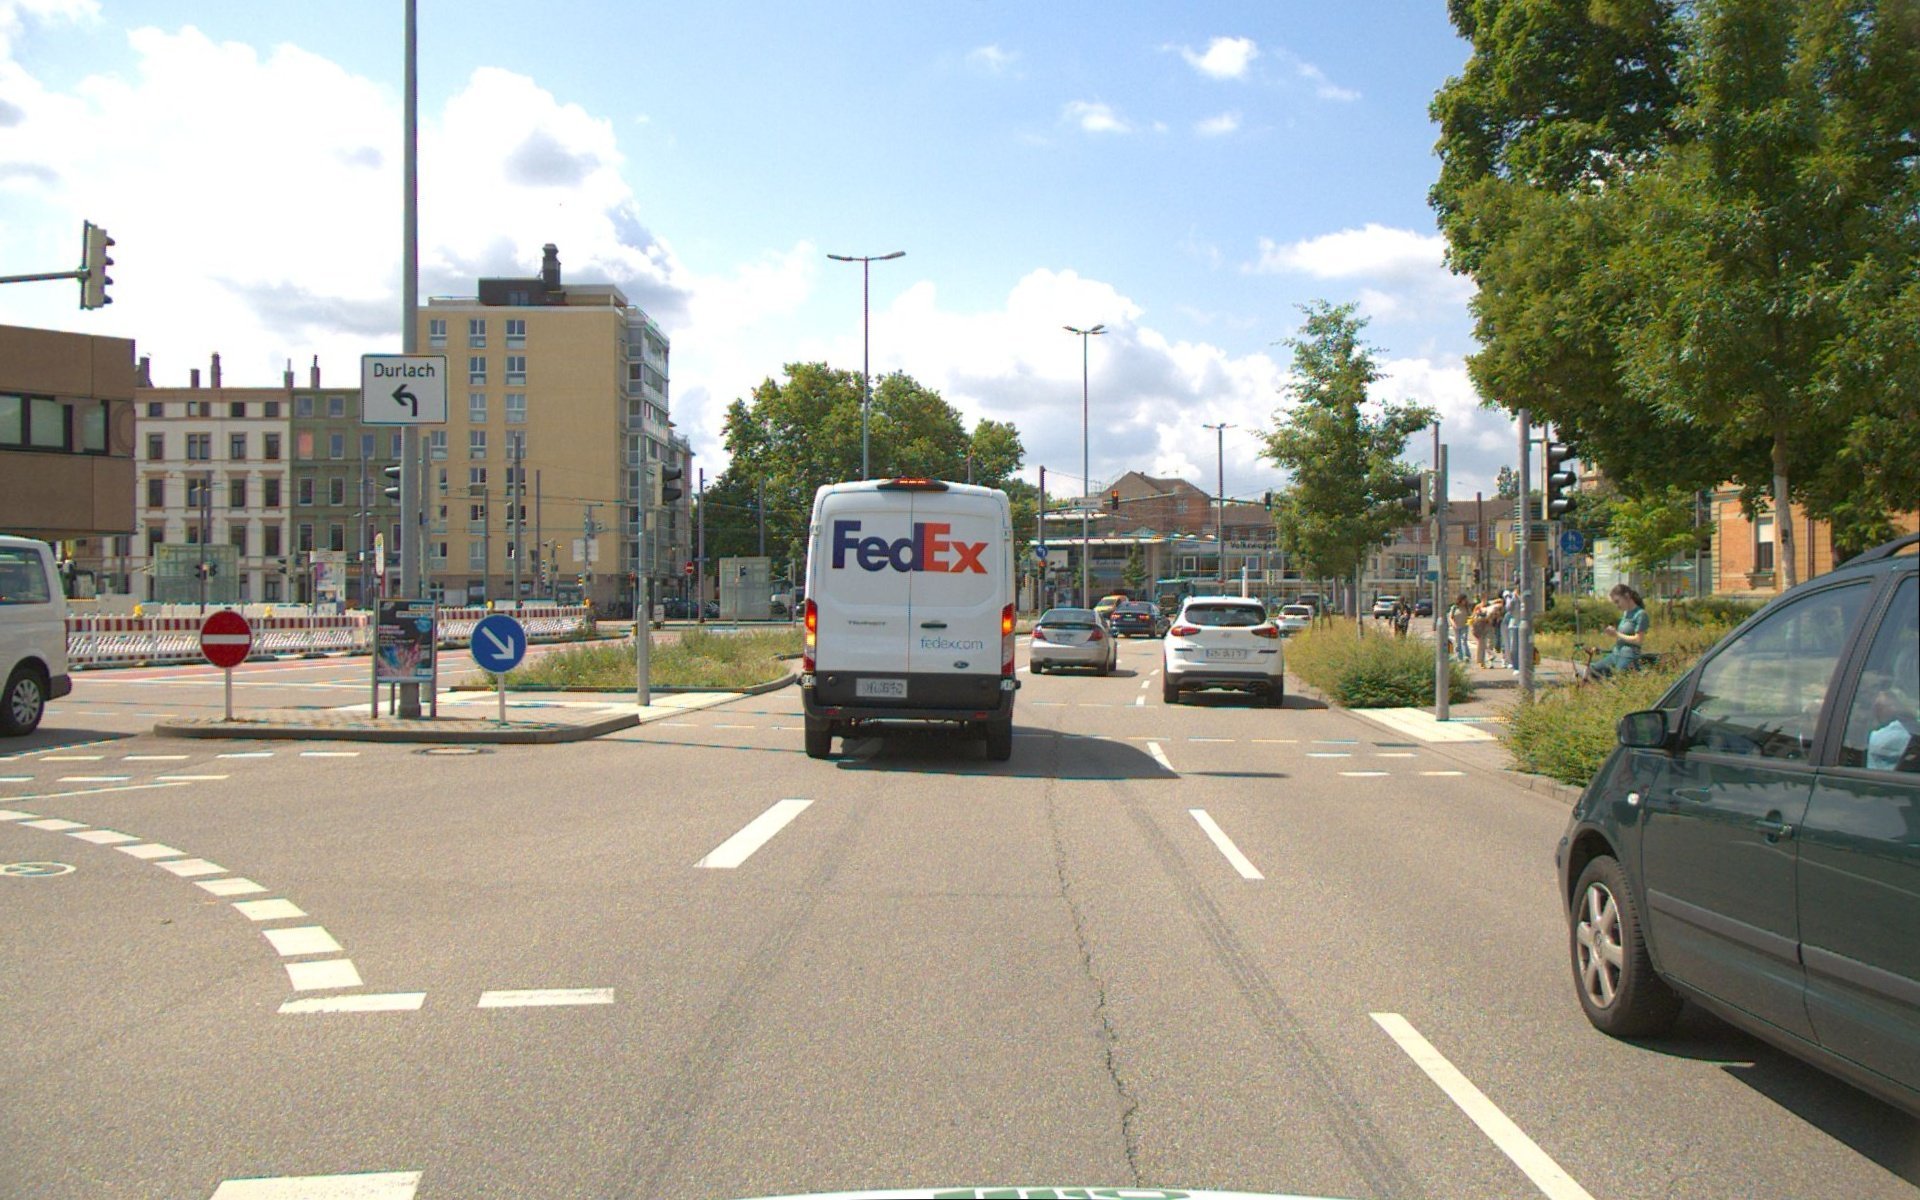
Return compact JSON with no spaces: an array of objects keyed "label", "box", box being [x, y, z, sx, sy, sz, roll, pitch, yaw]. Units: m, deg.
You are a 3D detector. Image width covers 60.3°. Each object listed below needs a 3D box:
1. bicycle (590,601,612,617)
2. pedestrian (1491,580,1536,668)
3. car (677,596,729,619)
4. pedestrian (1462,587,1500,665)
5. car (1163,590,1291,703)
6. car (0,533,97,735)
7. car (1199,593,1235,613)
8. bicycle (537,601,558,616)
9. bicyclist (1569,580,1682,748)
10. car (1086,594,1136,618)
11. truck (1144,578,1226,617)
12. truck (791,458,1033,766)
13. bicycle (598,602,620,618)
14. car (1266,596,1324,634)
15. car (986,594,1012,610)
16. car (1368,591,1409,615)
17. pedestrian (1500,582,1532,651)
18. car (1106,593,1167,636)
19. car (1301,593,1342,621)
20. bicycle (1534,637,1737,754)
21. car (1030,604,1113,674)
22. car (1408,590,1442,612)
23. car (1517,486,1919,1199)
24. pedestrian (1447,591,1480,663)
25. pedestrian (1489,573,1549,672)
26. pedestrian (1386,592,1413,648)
[{"label":"bicycle","box":[-26.804,0.700,123.396,2.097,1.167,0.530,0,-1,43]},{"label":"pedestrian","box":[11.860,0.509,35.473,0.740,1.853,0.638,1,-1,-1]},{"label":"car","box":[-21.649,0.636,139.495,4.014,1.891,1.984,1,-1,-1]},{"label":"pedestrian","box":[11.199,0.559,35.554,0.575,1.654,0.727,1,-1,-1]},{"label":"car","box":[4.235,0.686,26.766,1.841,1.670,4.236,0,0,6]},{"label":"car","box":[-10.130,0.333,15.007,1.842,1.927,4.871,0,0,3]},{"label":"car","box":[19.574,0.233,125.810,1.620,1.494,4.151,0,0,25]},{"label":"bicycle","box":[-30.683,0.629,123.130,0.508,1.167,2.100,2,-1,-44]},{"label":"bicyclist","box":[6.726,0.638,16.733,0.811,1.629,0.579,-3,-1,-2]},{"label":"car","box":[11.770,0.443,128.622,1.688,1.832,4.724,-1,0,35]},{"label":"truck","box":[17.603,-0.198,128.869,2.834,2.902,8.767,0,0,33]},{"label":"truck","box":[-0.437,0.118,17.510,2.093,2.686,5.916,1,0,0]},{"label":"bicycle","box":[-26.239,0.713,123.709,2.097,1.167,0.508,0,-1,43]},{"label":"car","box":[15.435,0.652,76.079,1.843,1.670,3.955,0,0,24]},{"label":"car","box":[4.097,0.230,172.521,1.951,1.601,4.181,1,-1,12]},{"label":"car","box":[30.890,0.210,119.091,1.846,1.670,3.949,0,0,30]},{"label":"pedestrian","box":[14.954,0.446,44.489,0.739,1.853,0.674,1,-1,12]},{"label":"car","box":[7.283,0.573,68.005,1.887,1.670,4.796,0,0,13]},{"label":"car","box":[22.389,0.432,102.300,1.842,1.670,3.957,0,0,22]},{"label":"bicycle","box":[6.814,0.955,16.728,1.773,1.068,0.591,-3,-1,-2]},{"label":"car","box":[2.466,0.811,36.480,1.704,1.416,4.182,0,0,4]},{"label":"car","box":[35.998,0.052,127.962,1.844,1.670,3.953,0,0,26]},{"label":"car","box":[3.188,0.625,4.491,1.758,1.753,4.447,2,0,-1]},{"label":"pedestrian","box":[11.903,0.640,39.151,0.636,1.654,0.775,-3,-2,14]},{"label":"pedestrian","box":[10.914,0.439,32.297,0.741,1.853,0.779,-3,0,-7]},{"label":"pedestrian","box":[12.905,0.584,48.602,0.740,1.617,0.762,1,-1,14]}]
